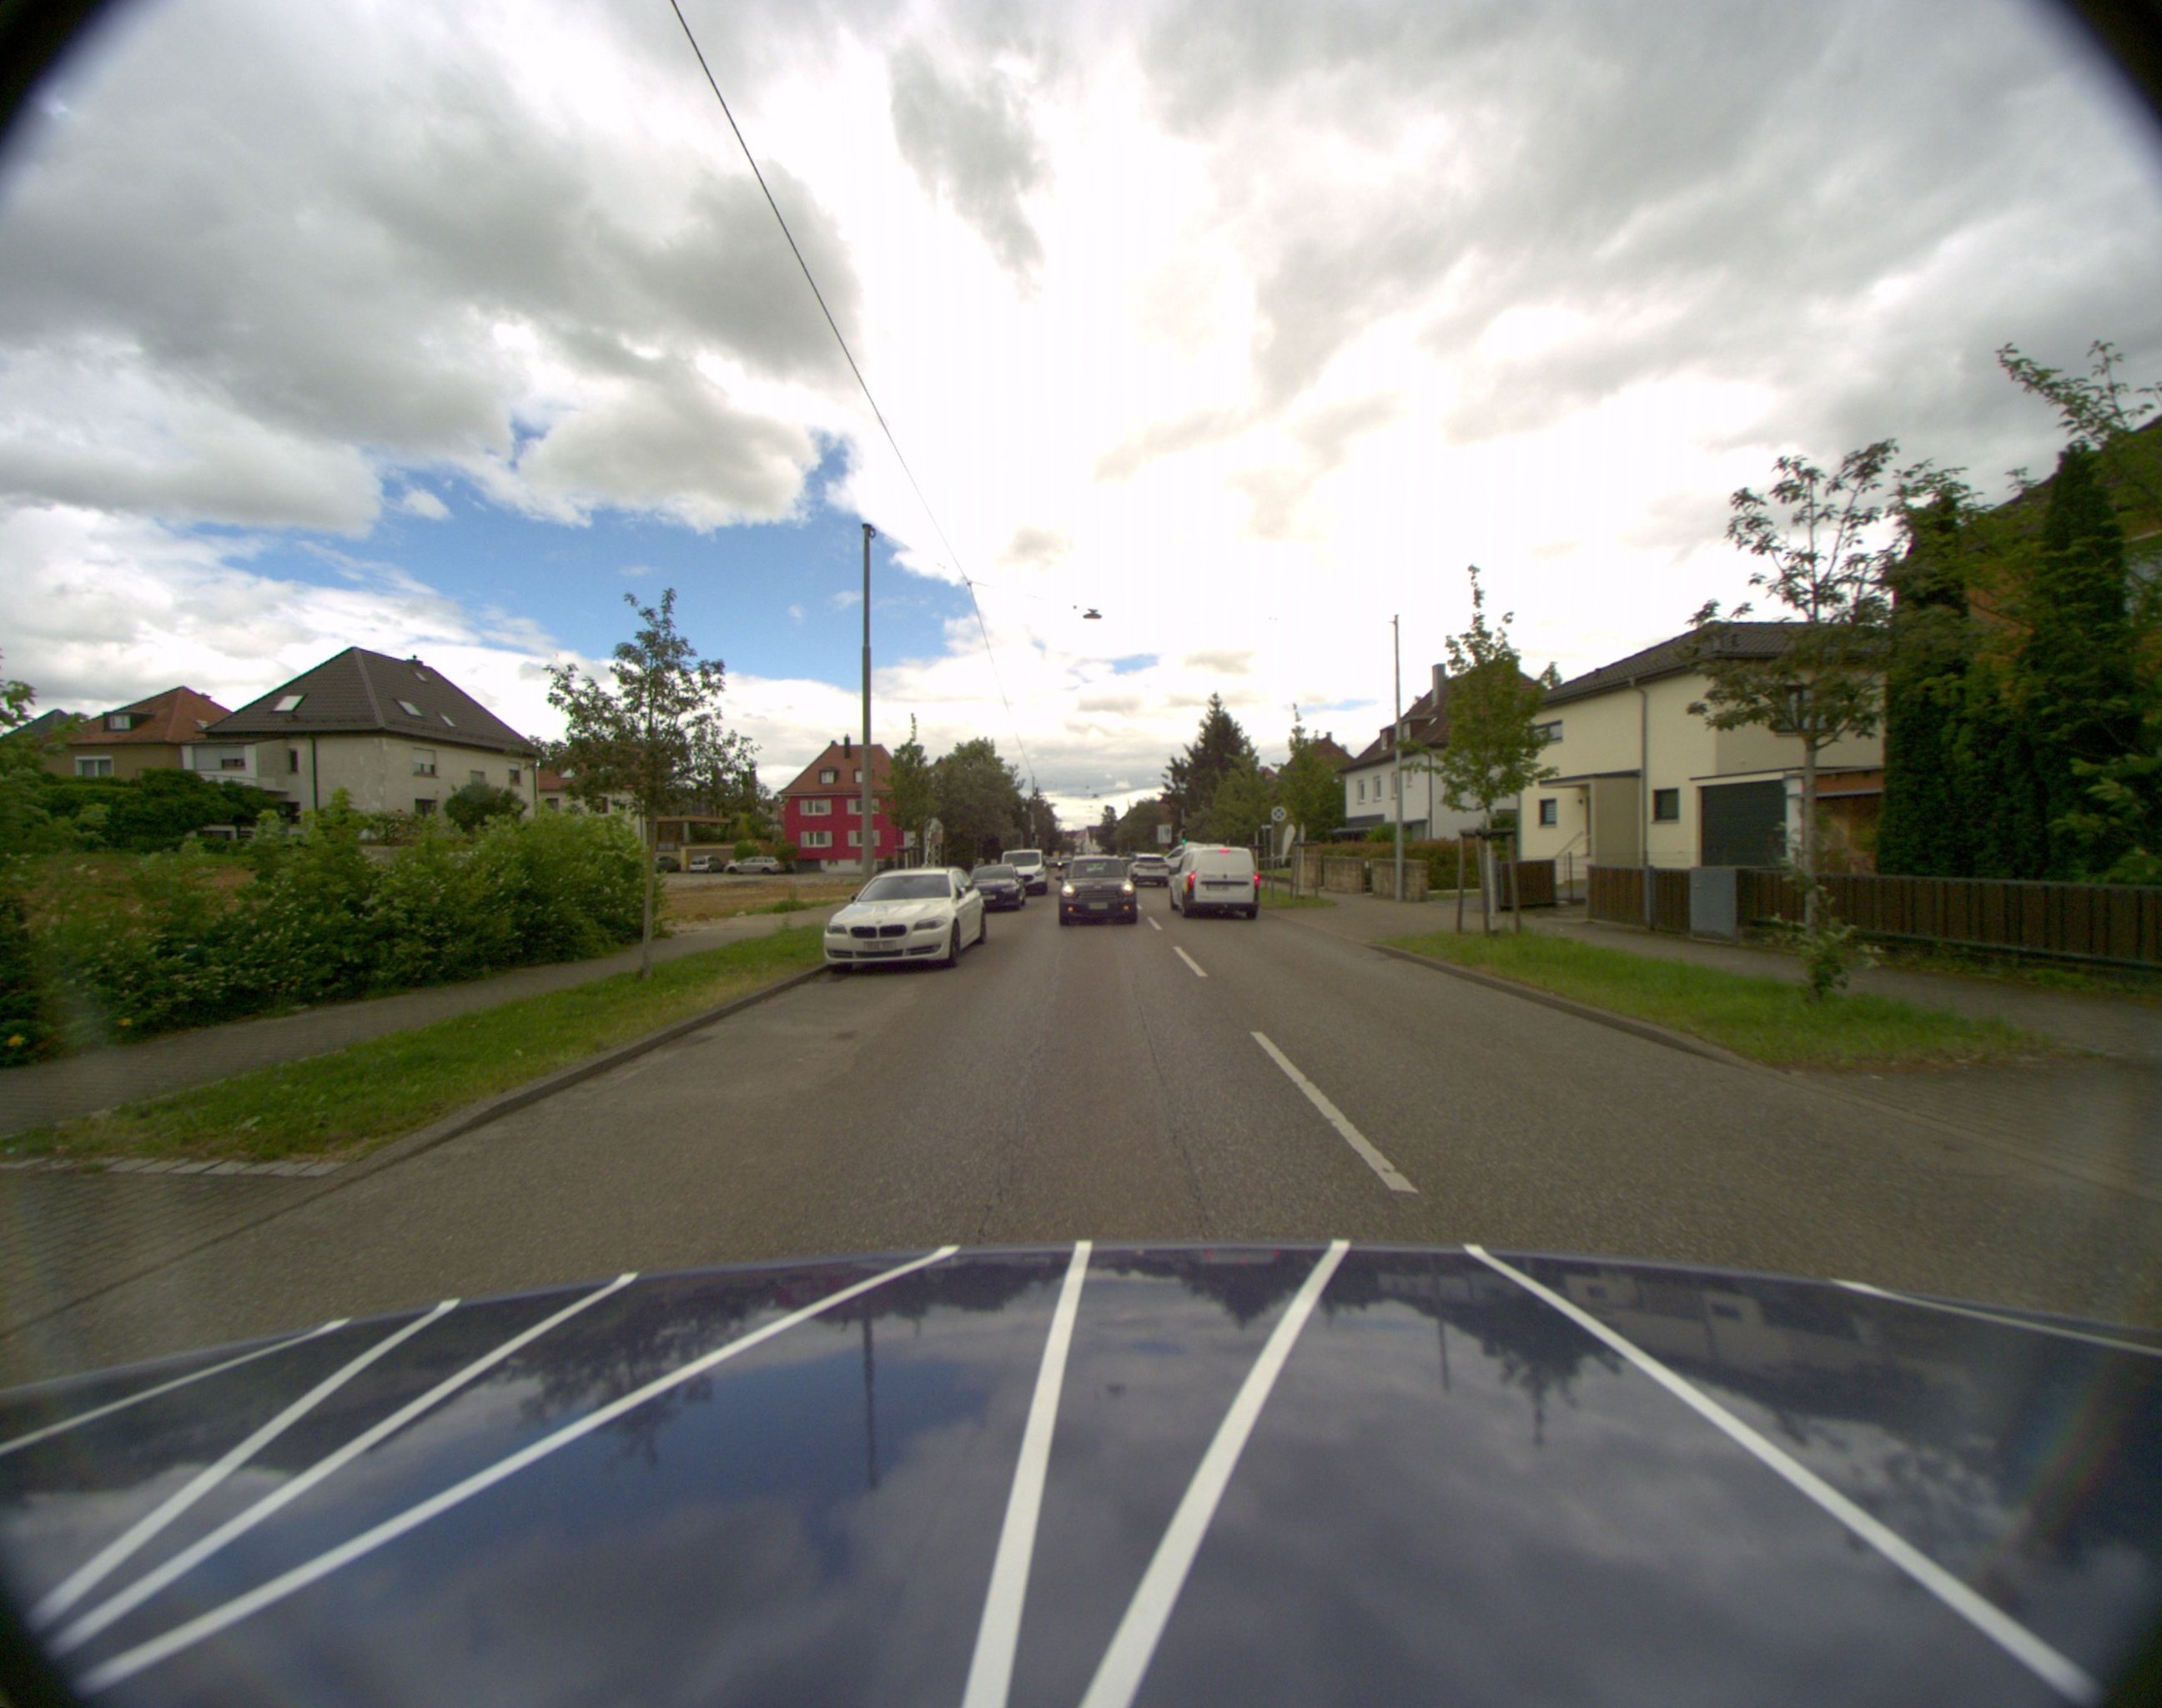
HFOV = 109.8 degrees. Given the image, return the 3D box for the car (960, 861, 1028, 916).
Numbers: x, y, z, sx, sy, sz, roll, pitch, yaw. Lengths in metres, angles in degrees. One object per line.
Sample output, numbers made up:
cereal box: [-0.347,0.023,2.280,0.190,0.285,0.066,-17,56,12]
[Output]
car: [-2.665,1.020,24.089,1.669,1.507,4.220,-2,0,-1]

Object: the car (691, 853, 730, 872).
car: [-31.748,0.700,65.205,1.621,1.531,3.501,-3,1,-1]

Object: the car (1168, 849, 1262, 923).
car: [3.432,0.766,20.236,1.800,1.741,4.298,0,0,1]

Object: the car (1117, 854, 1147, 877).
car: [3.428,0.753,51.408,1.620,1.463,3.999,-2,0,-2]

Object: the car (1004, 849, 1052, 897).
car: [-2.279,0.776,33.825,1.779,1.932,4.788,-2,0,-1]

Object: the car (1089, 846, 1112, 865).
car: [1.794,0.097,70.225,1.900,1.615,3.999,-2,0,-1]

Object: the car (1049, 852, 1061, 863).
car: [-3.872,0.557,113.784,1.728,1.582,4.156,0,0,-1]

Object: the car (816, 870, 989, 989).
car: [-2.677,1.063,12.468,1.697,1.445,4.404,-3,0,0]

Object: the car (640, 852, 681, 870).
car: [-36.336,0.600,65.736,1.621,1.459,3.501,-3,1,-1]

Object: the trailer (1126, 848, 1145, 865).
trailer: [6.969,0.340,97.687,2.160,2.076,4.425,-1,0,0]

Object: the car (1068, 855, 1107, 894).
car: [0.335,0.838,33.441,1.590,1.598,3.685,-1,0,2]

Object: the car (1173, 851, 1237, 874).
car: [9.290,0.627,56.689,4.656,1.611,1.995,-1,0,-37]

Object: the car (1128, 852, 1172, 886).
car: [3.476,0.718,38.997,1.818,1.683,4.465,0,0,0]

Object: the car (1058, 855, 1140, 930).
car: [0.439,0.836,18.248,1.743,1.573,3.685,-1,0,1]

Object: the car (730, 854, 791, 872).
car: [-25.899,0.757,61.500,4.231,1.416,1.760,0,-1,-1]

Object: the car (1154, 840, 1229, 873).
car: [8.939,0.183,61.339,5.610,2.549,2.133,1,1,18]
